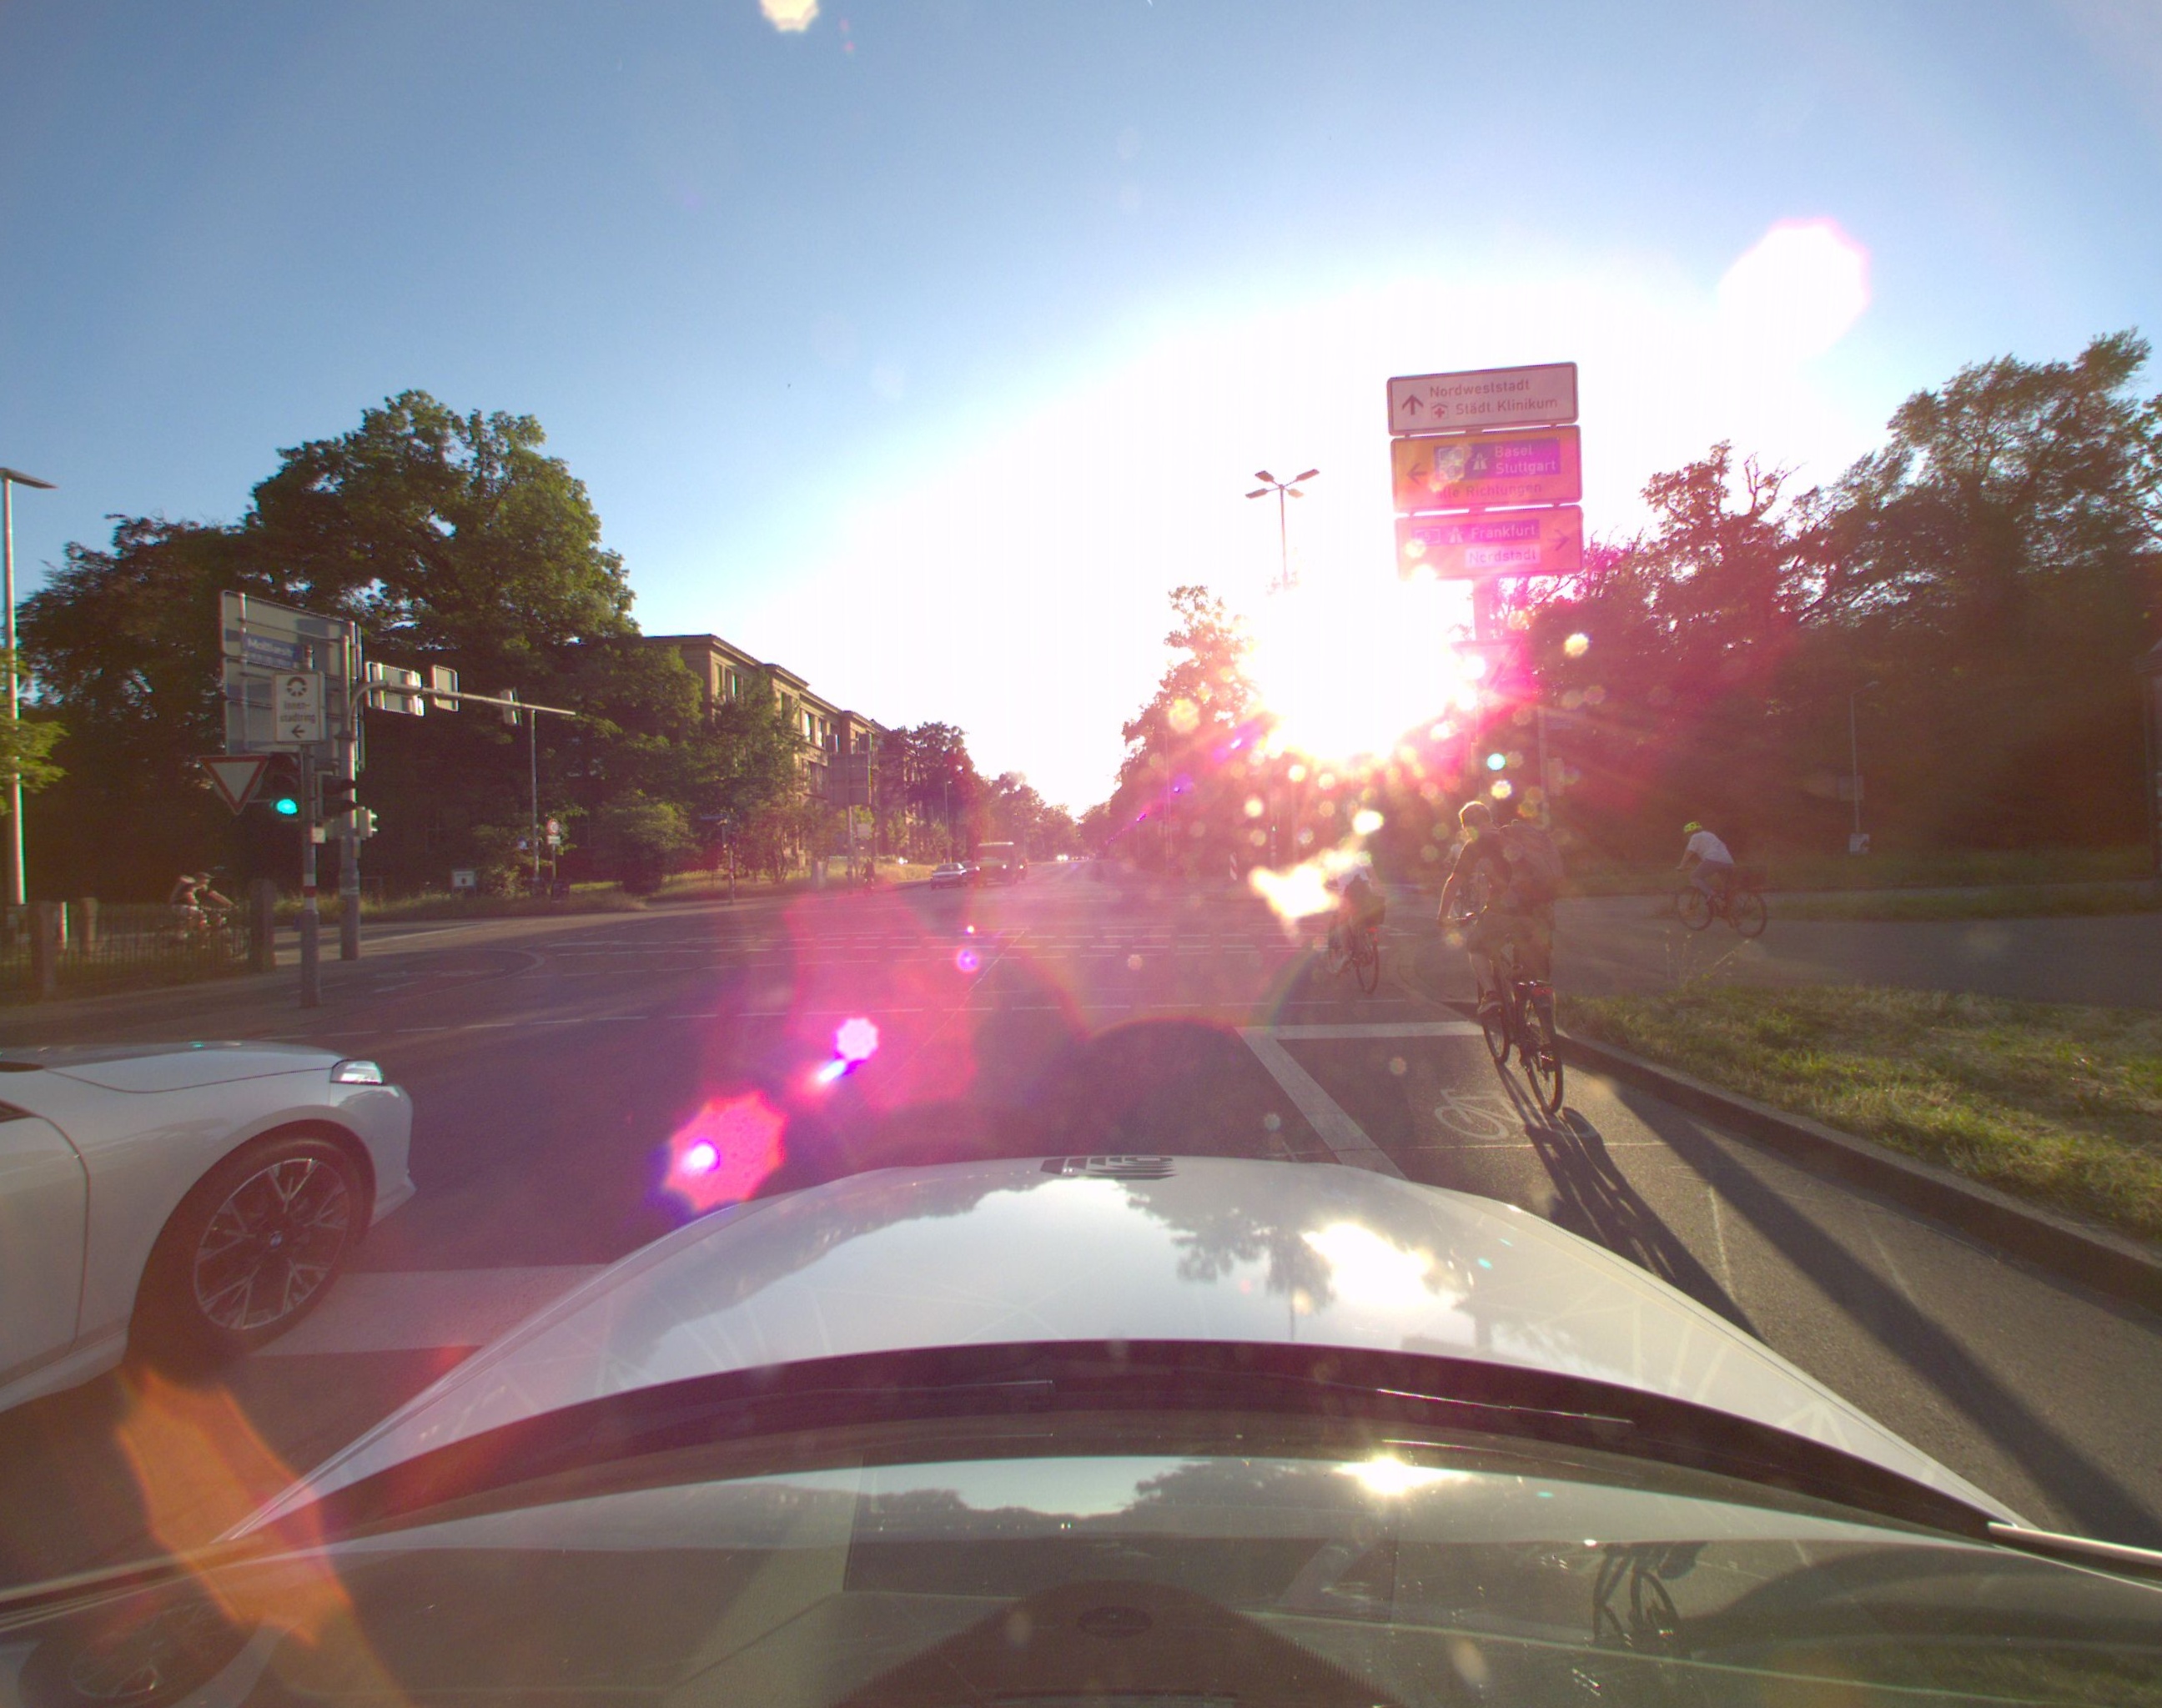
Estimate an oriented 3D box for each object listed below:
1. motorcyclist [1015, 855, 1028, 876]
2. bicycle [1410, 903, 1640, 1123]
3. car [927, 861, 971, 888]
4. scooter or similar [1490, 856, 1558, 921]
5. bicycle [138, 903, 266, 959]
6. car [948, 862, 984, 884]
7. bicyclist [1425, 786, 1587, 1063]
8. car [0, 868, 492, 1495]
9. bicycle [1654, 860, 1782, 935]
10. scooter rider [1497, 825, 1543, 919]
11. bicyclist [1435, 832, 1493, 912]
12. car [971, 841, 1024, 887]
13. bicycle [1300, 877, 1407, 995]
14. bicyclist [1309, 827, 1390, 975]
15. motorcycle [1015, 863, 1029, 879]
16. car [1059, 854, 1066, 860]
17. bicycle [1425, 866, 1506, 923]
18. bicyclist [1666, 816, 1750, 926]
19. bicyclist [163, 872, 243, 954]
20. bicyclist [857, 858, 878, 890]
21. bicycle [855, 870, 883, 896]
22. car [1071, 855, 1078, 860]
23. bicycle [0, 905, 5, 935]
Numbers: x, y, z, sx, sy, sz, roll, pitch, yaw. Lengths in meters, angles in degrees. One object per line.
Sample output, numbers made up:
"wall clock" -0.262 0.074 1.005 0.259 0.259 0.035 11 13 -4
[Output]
"motorcyclist" -3.975 0.790 54.854 0.747 1.358 0.704 -2 -1 1
"bicycle" 2.745 0.904 5.282 0.695 1.063 1.829 -1 0 8
"car" -7.597 1.147 47.383 1.723 1.409 4.141 -2 0 2
"scooter or similar" 8.528 0.646 15.725 0.559 1.189 1.423 -2 -1 3
"bicycle" -18.047 1.582 16.747 1.890 1.089 0.660 0 -1 0
"car" -7.662 1.260 54.719 1.758 1.328 3.644 -2 0 2
"bicyclist" 2.744 0.430 5.340 0.694 1.667 0.800 -1 0 8
"car" -3.467 0.817 1.418 1.746 1.466 4.189 -2 0 1
"bicycle" 9.405 0.606 12.121 0.561 1.014 1.804 -2 0 4
"scooter rider" 8.522 0.348 15.809 0.563 1.766 0.505 -2 -1 2
"bicyclist" 7.552 0.346 16.095 0.756 1.518 0.858 -1 0 4
"car" -4.450 0.498 44.321 2.031 2.278 5.943 -2 0 2
"bicycle" 3.026 0.858 9.216 0.611 1.138 1.885 -1 0 2
"bicyclist" 3.019 0.510 9.232 0.601 1.586 0.910 -1 0 1
"motorcycle" -3.966 1.134 54.820 0.751 1.001 1.879 -2 0 2
"car" -4.532 0.761 200.956 1.766 1.474 3.772 -2 0 -2
"bicycle" 7.563 0.759 16.113 0.767 1.007 2.019 -1 0 4
"bicyclist" 9.400 0.244 12.242 0.551 1.569 0.900 -2 0 4
"bicyclist" -18.045 1.196 16.748 0.908 1.633 0.653 0 -1 0
"bicyclist" -10.201 0.945 38.987 0.680 1.512 0.956 -2 0 1
"bicycle" -10.177 1.377 39.120 0.684 1.123 2.169 -2 0 2
"car" -1.839 1.033 244.809 1.988 1.640 3.997 -2 0 -2
"bicycle" -41.659 2.509 30.273 0.747 1.156 1.880 0 -1 6
